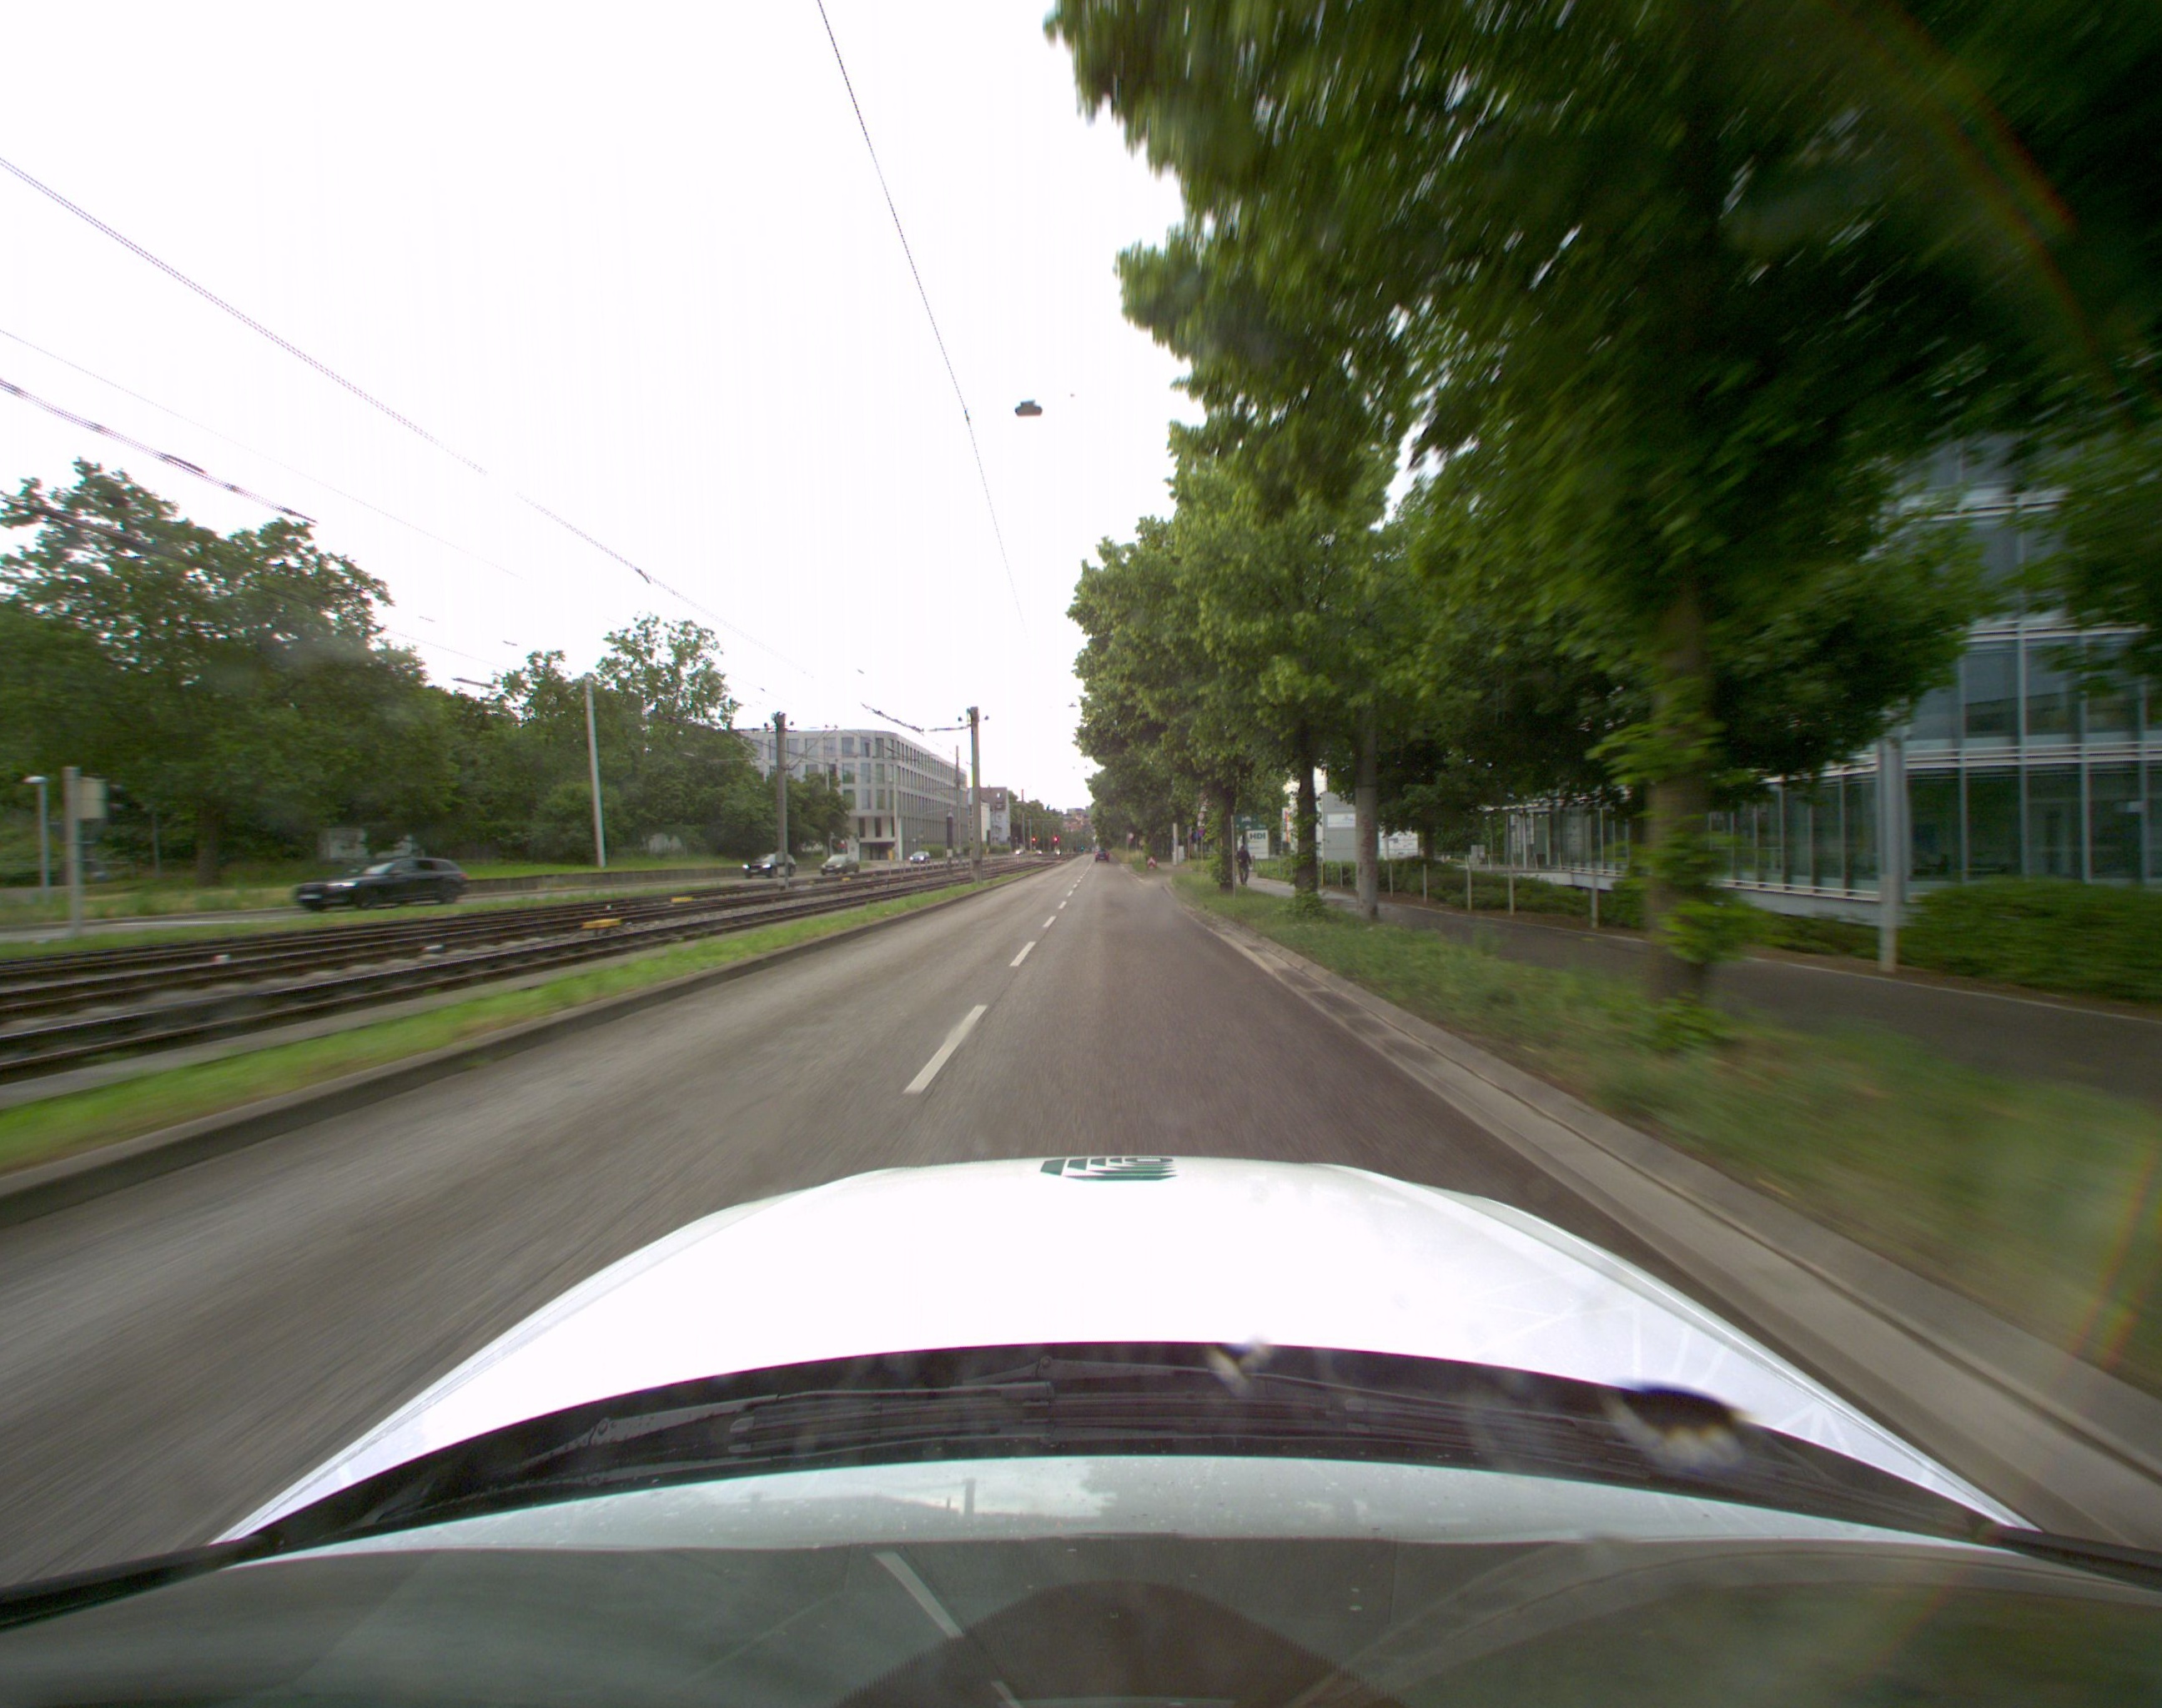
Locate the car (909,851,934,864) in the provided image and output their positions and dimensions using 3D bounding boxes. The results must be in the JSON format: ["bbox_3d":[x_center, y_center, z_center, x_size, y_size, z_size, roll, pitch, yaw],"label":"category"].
[{"bbox_3d":[-18.457,0.402,94.455,1.753,1.397,3.905,-1,0,4],"label":"car"}]

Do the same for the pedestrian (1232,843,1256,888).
[{"bbox_3d":[6.690,0.467,33.486,0.822,1.797,0.868,0,0,2],"label":"pedestrian"}]

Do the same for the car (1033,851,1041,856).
[{"bbox_3d":[-11.989,-0.082,220.698,1.791,1.347,4.261,-1,0,2],"label":"car"}]

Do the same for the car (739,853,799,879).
[{"bbox_3d":[-20.931,0.795,54.900,1.940,1.595,4.850,-1,0,2],"label":"car"}]

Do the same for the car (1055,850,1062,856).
[{"bbox_3d":[-6.642,-0.192,241.718,1.894,1.644,4.888,-1,0,3],"label":"car"}]

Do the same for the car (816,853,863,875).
[{"bbox_3d":[-17.660,0.736,59.764,1.882,1.486,4.313,-1,0,4],"label":"car"}]

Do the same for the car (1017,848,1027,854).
[{"bbox_3d":[-13.517,-0.693,186.069,1.750,1.244,3.989,-1,0,2],"label":"car"}]

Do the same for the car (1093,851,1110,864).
[{"bbox_3d":[2.480,0.445,98.984,1.975,1.440,4.476,-1,0,2],"label":"car"}]

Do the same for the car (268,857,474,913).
[{"bbox_3d":[-23.502,0.955,27.309,2.079,1.589,5.165,-1,0,5],"label":"car"}]
